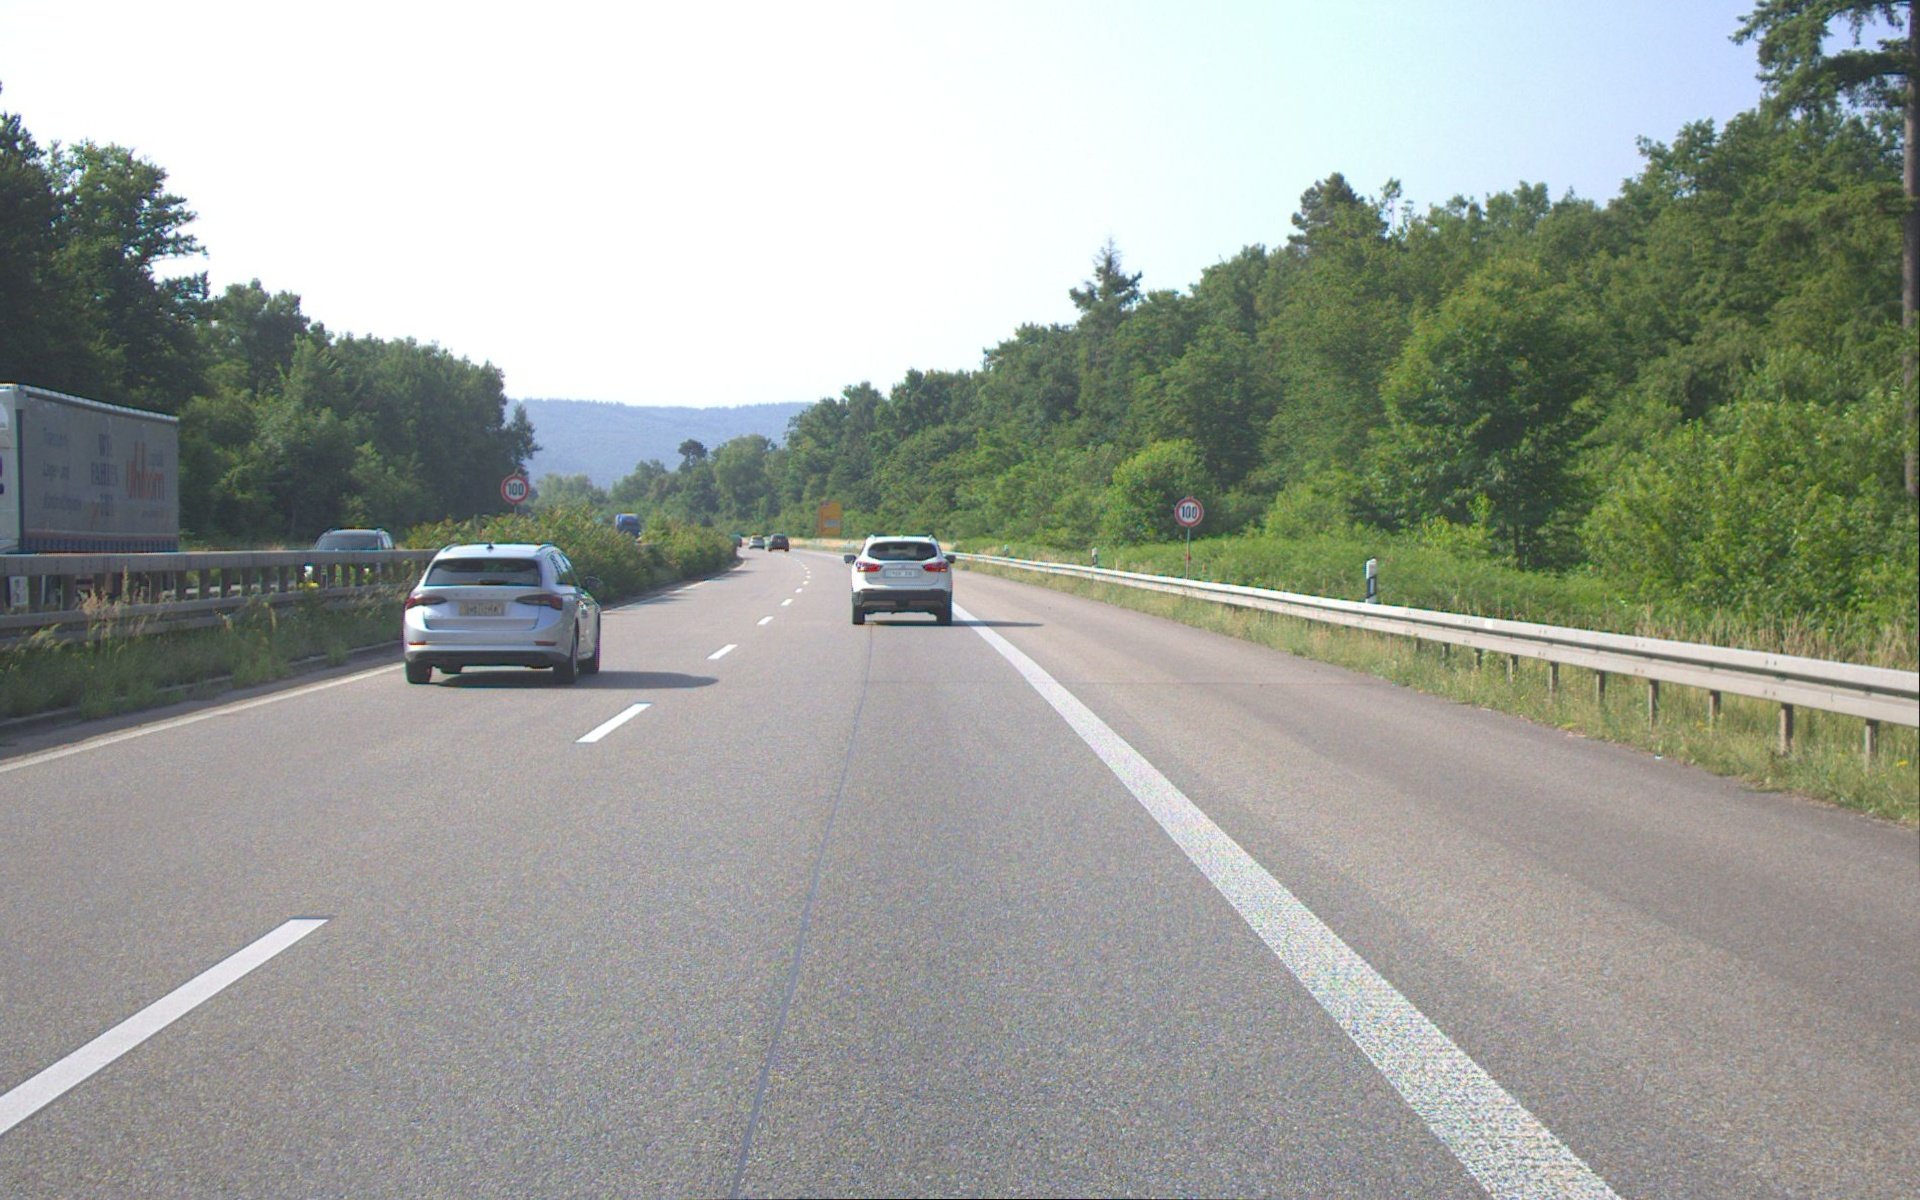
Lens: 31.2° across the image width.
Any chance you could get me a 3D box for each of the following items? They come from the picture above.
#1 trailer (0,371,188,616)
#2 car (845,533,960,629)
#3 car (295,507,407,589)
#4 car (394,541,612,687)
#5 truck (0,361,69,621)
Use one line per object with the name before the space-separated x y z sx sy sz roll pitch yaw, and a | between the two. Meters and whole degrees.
trailer | -17.264 -1.926 65.118 2.832 4.194 12.413 0 1 -2
car | -1.071 -0.367 62.171 1.873 1.580 4.001 2 1 -3
car | -12.909 -1.108 73.060 1.686 1.683 4.168 1 1 -1
car | -4.880 0.093 37.344 1.792 1.433 5.279 0 1 -1
truck | -16.940 -1.788 57.345 2.837 4.181 5.547 0 1 -2
